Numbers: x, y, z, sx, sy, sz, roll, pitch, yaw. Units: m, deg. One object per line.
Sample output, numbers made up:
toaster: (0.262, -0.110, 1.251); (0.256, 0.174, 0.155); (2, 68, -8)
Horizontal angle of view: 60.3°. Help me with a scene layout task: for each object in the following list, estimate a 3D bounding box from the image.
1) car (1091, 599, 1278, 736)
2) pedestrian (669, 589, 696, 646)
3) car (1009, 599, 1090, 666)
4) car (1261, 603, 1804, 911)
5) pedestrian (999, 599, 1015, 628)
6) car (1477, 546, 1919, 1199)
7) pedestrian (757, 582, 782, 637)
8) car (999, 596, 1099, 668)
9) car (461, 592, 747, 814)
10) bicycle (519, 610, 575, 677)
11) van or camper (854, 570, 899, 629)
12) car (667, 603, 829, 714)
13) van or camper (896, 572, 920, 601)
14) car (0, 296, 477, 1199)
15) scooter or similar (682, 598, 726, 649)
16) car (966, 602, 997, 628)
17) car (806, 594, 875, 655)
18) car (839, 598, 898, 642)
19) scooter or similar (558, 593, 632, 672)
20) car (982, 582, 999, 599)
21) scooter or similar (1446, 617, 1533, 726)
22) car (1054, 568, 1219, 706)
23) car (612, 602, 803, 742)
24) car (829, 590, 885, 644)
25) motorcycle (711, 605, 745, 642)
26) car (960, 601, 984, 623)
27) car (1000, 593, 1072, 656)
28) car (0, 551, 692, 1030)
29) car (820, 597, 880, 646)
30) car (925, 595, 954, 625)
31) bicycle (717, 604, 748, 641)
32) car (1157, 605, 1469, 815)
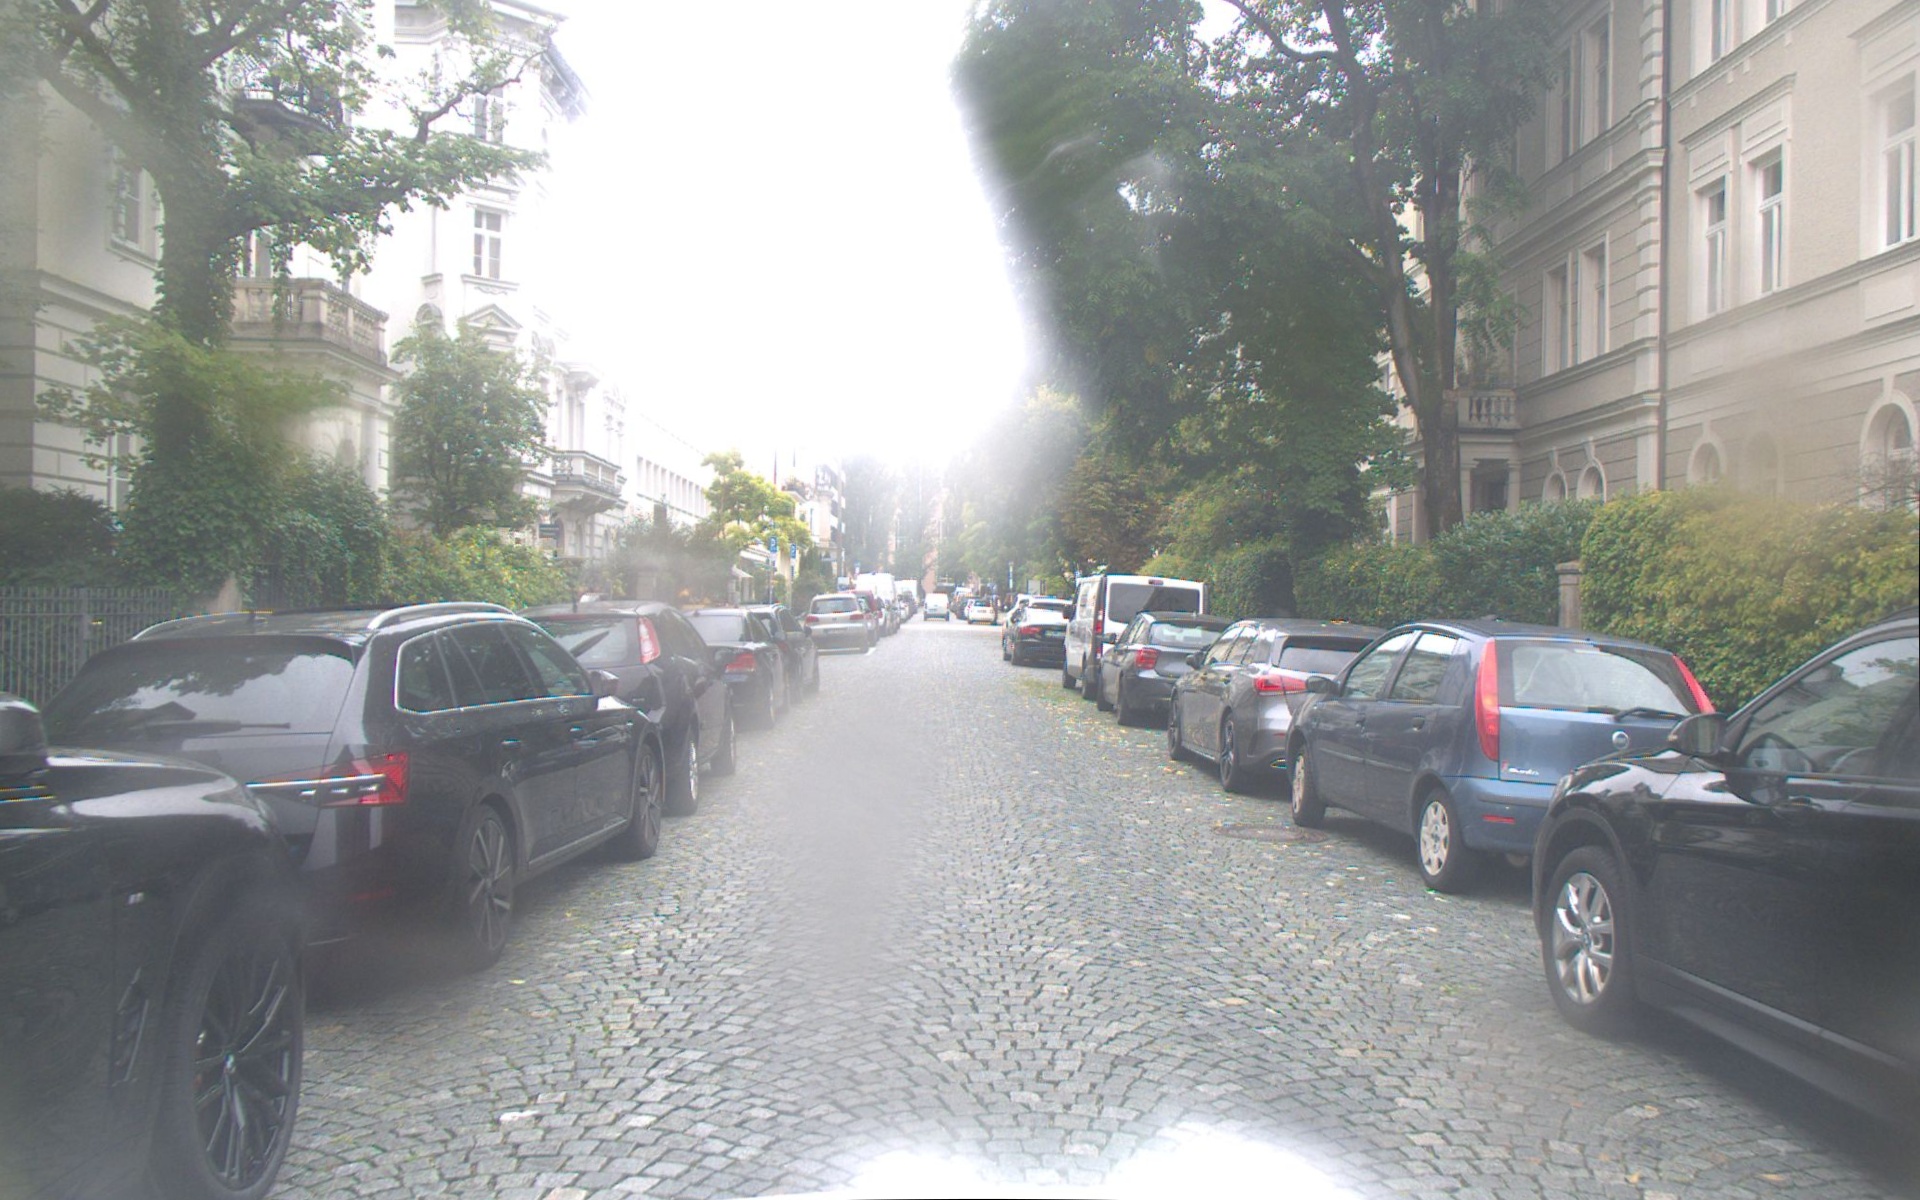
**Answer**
car: (2.850, 0.810, 21.913); (1.800, 1.516, 4.421); (3, 0, 0)
pedestrian: (-8.401, 0.532, 50.114); (0.703, 1.717, 0.695); (1, 0, -2)
car: (2.378, 0.834, 44.838); (1.781, 1.607, 4.206); (4, 0, -2)
car: (3.297, 0.809, 10.444); (1.661, 1.465, 4.057); (4, 0, -5)
pedestrian: (3.325, 0.941, 118.136); (0.843, 2.049, 0.986); (1, 0, -18)
car: (3.222, 0.772, 4.831); (1.835, 1.699, 4.656); (3, 0, -1)
pedestrian: (-6.852, 0.346, 59.440); (0.776, 1.951, 0.758); (2, 0, -1)
car: (2.064, 0.721, 39.561); (1.836, 1.529, 4.508); (3, 0, -3)
car: (-2.648, 0.691, 13.158); (1.629, 1.469, 4.168); (0, 0, -4)
bicycle: (-7.508, 0.771, 30.132); (0.565, 1.142, 2.050); (1, 0, -2)
van or camper: (-4.008, -0.026, 79.985); (1.953, 2.698, 3.999); (-2, 0, 0)
car: (-3.107, 0.811, 25.083); (1.848, 1.442, 4.406); (-2, 0, 0)
van or camper: (-5.168, -1.325, 164.535); (2.210, 2.790, 5.097); (2, 0, -1)
car: (-2.464, 0.535, 2.608); (1.953, 1.950, 5.175); (-3, 0, -2)
scooter or similar: (-7.649, 0.683, 49.593); (0.922, 1.467, 2.656); (1, 0, -1)
car: (1.292, 0.894, 101.149); (1.753, 1.547, 3.999); (1, 0, 0)
car: (-3.366, 0.667, 47.350); (1.836, 1.607, 4.253); (-2, 0, -3)
car: (-3.561, 0.768, 65.033); (1.834, 1.607, 4.209); (3, 0, 2)
scooter or similar: (-7.219, 0.613, 32.830); (0.922, 1.467, 2.655); (2, 0, -2)
car: (3.709, -1.162, 204.102); (1.953, 2.049, 3.999); (1, -1, 0)
scooter or similar: (6.461, 0.848, 20.223); (0.407, 1.256, 1.242); (-2, 0, -12)
car: (2.803, 0.550, 27.425); (1.836, 1.962, 5.161); (3, 0, -3)
car: (-2.973, 0.787, 20.321); (1.747, 1.442, 4.495); (-2, 0, -2)
car: (-3.675, 0.588, 59.738); (1.835, 1.807, 4.121); (-3, 0, -2)
motorcycle: (-7.732, 0.775, 55.169); (0.609, 1.217, 1.866); (1, 0, 8)
car: (0.865, 0.898, 121.784); (1.753, 1.547, 3.999); (1, 0, 0)
car: (2.310, 0.728, 51.417); (1.835, 1.763, 4.592); (4, 0, -1)
car: (-2.704, 0.646, 8.087); (1.938, 1.588, 5.017); (-1, 0, 0)
car: (-3.512, 0.664, 53.365); (1.836, 1.476, 4.205); (-1, 0, -3)
car: (-1.443, 0.703, 115.770); (1.953, 2.049, 3.999); (1, 0, 0)
bicycle: (-7.882, 0.766, 57.332); (0.645, 1.242, 2.077); (1, 0, -19)
car: (2.965, 0.851, 14.822); (1.679, 1.498, 4.267); (3, 0, -2)
